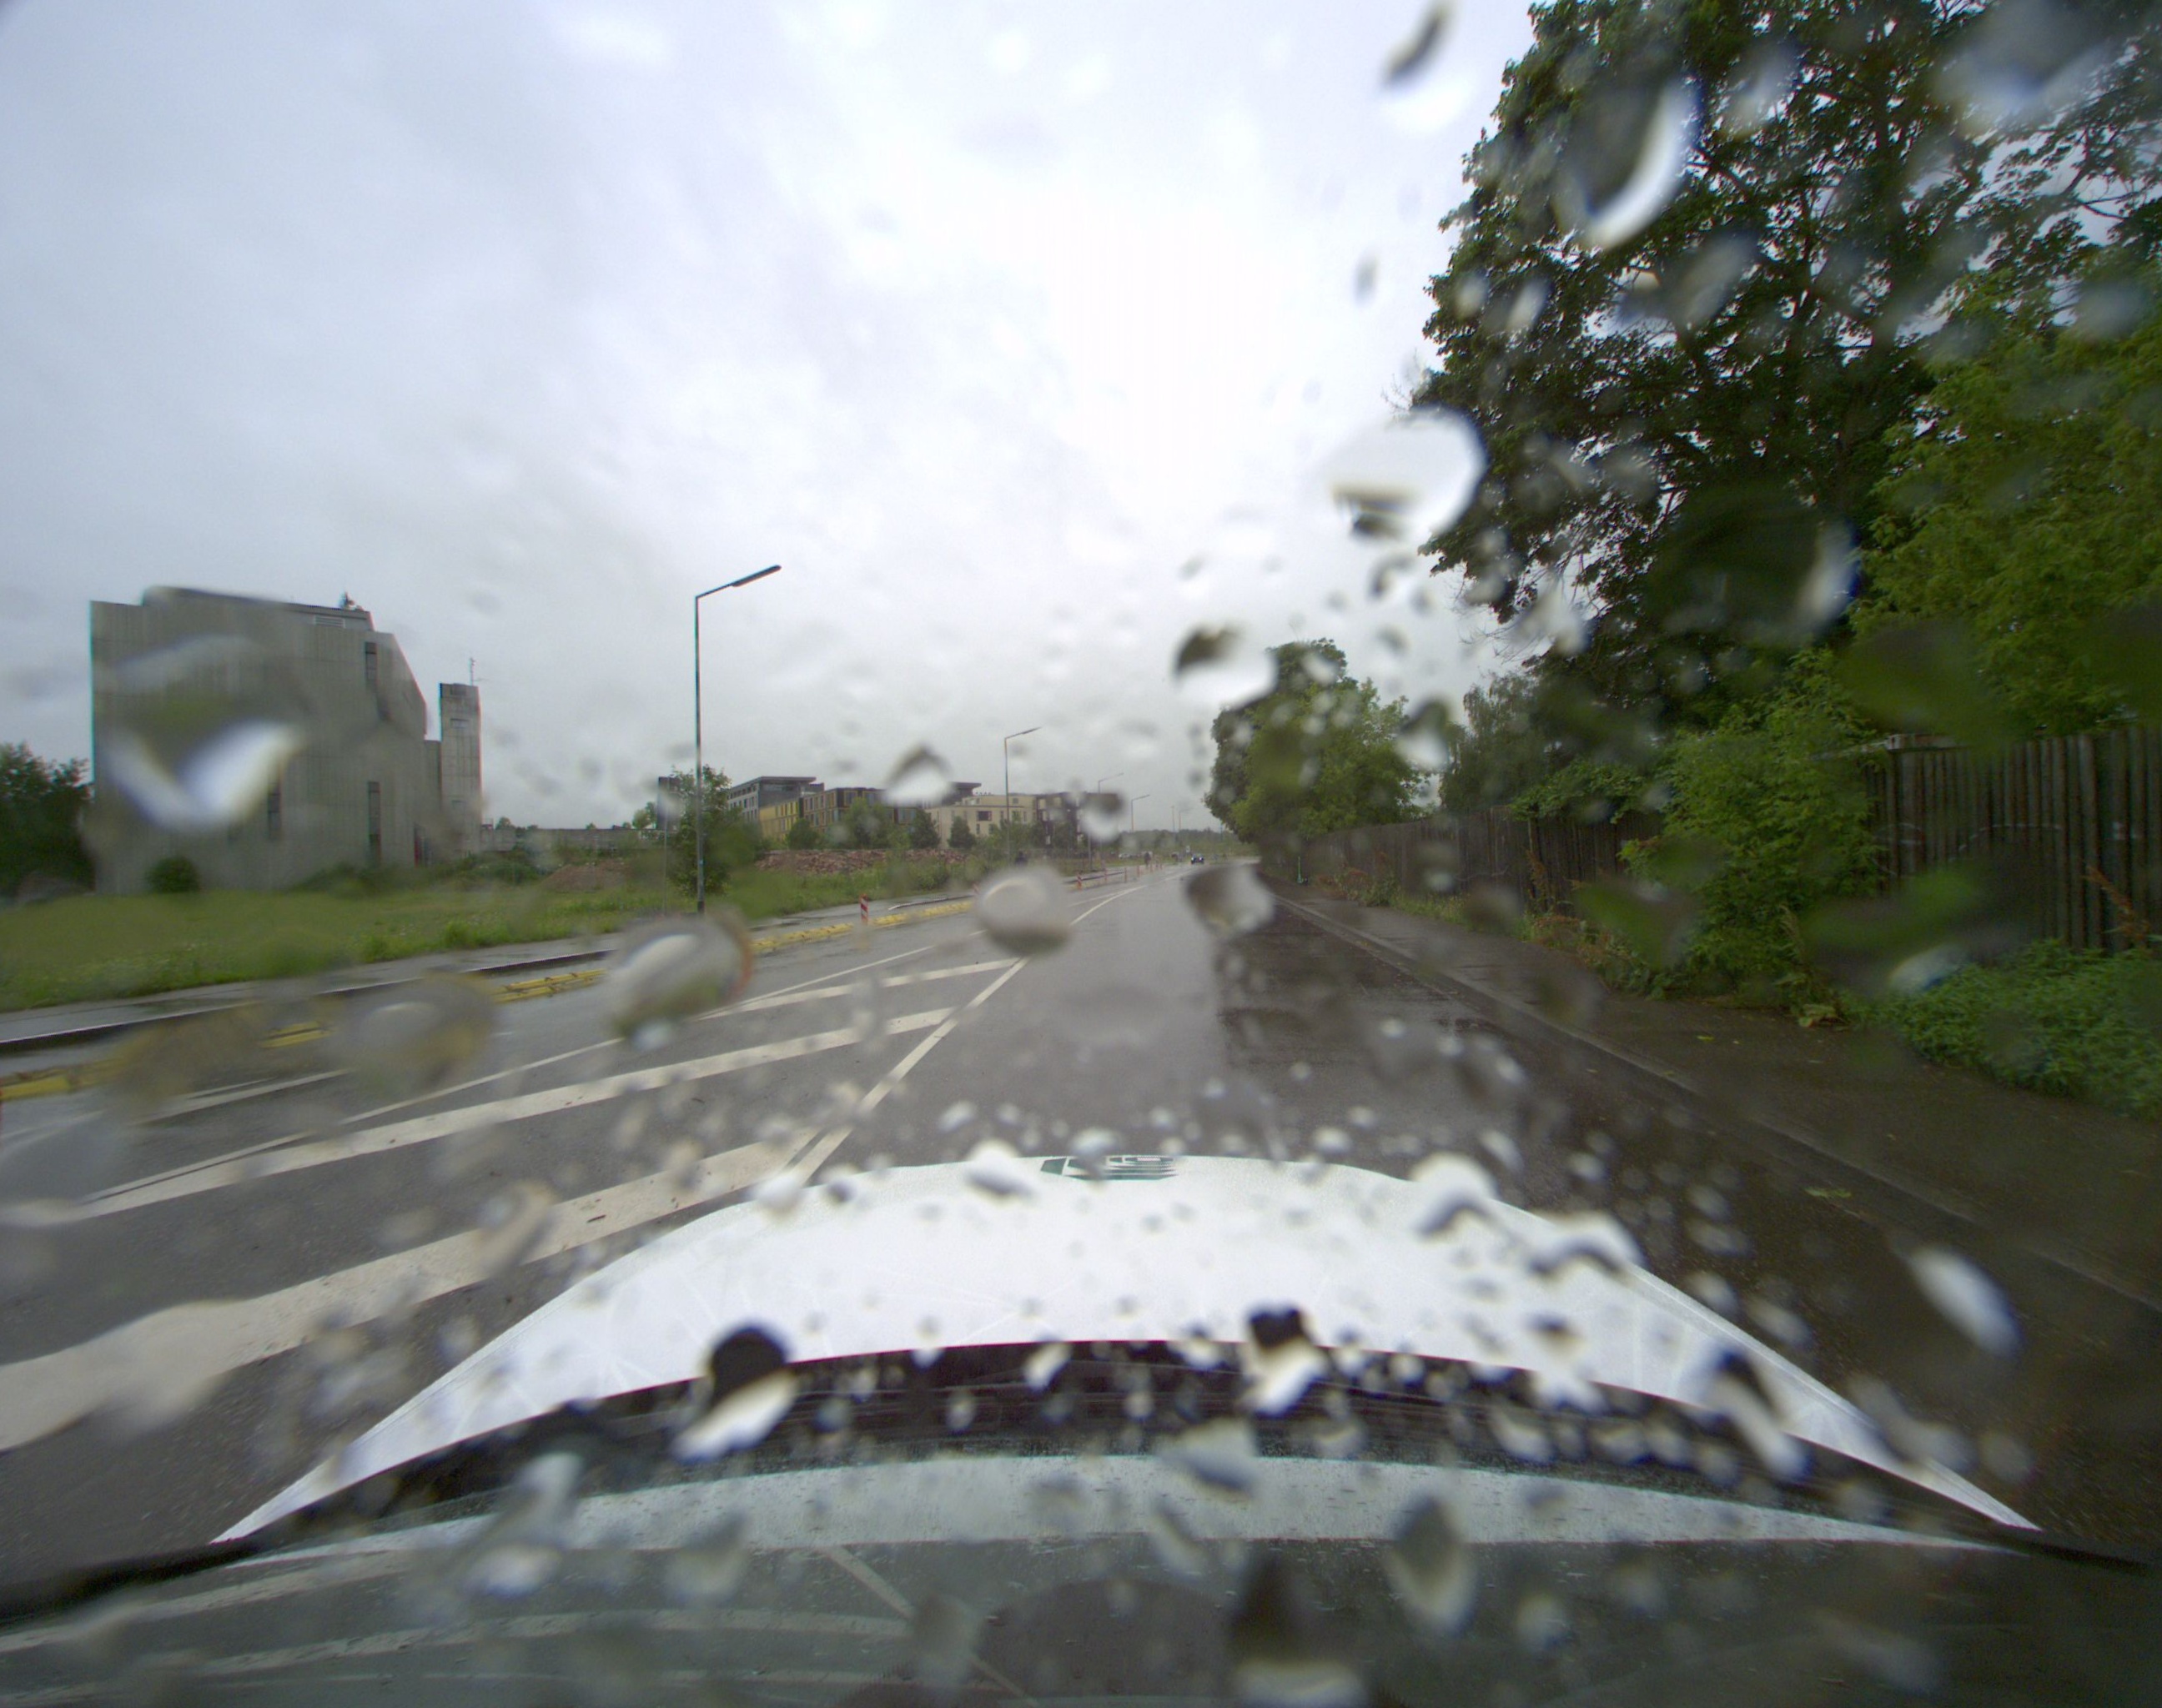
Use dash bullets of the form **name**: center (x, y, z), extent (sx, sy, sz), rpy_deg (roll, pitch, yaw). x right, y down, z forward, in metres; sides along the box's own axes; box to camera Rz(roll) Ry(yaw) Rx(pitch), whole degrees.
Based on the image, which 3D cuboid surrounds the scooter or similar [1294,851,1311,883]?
- **scooter or similar**: center (8.762, 0.504, 32.247), extent (0.488, 1.235, 1.374), rpy_deg (-2, -1, 9)

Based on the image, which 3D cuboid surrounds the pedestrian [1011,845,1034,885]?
- **pedestrian**: center (-3.056, 0.582, 42.536), extent (0.840, 2.014, 1.136), rpy_deg (-2, -3, 15)

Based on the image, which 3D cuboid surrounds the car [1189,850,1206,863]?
- **car**: center (16.319, 0.374, 113.929), extent (1.981, 1.772, 4.012), rpy_deg (-2, 0, 11)

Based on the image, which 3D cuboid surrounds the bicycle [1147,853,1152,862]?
- **bicycle**: center (8.047, 0.431, 95.735), extent (0.425, 1.019, 1.615), rpy_deg (-1, 0, 6)

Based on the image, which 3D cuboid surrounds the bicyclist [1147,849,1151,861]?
- **bicyclist**: center (8.006, 0.088, 95.872), extent (0.441, 1.404, 0.551), rpy_deg (-2, -3, 8)

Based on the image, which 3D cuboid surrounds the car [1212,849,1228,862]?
- **car**: center (20.537, 0.287, 120.601), extent (1.979, 1.772, 4.014), rpy_deg (-2, -2, 14)
